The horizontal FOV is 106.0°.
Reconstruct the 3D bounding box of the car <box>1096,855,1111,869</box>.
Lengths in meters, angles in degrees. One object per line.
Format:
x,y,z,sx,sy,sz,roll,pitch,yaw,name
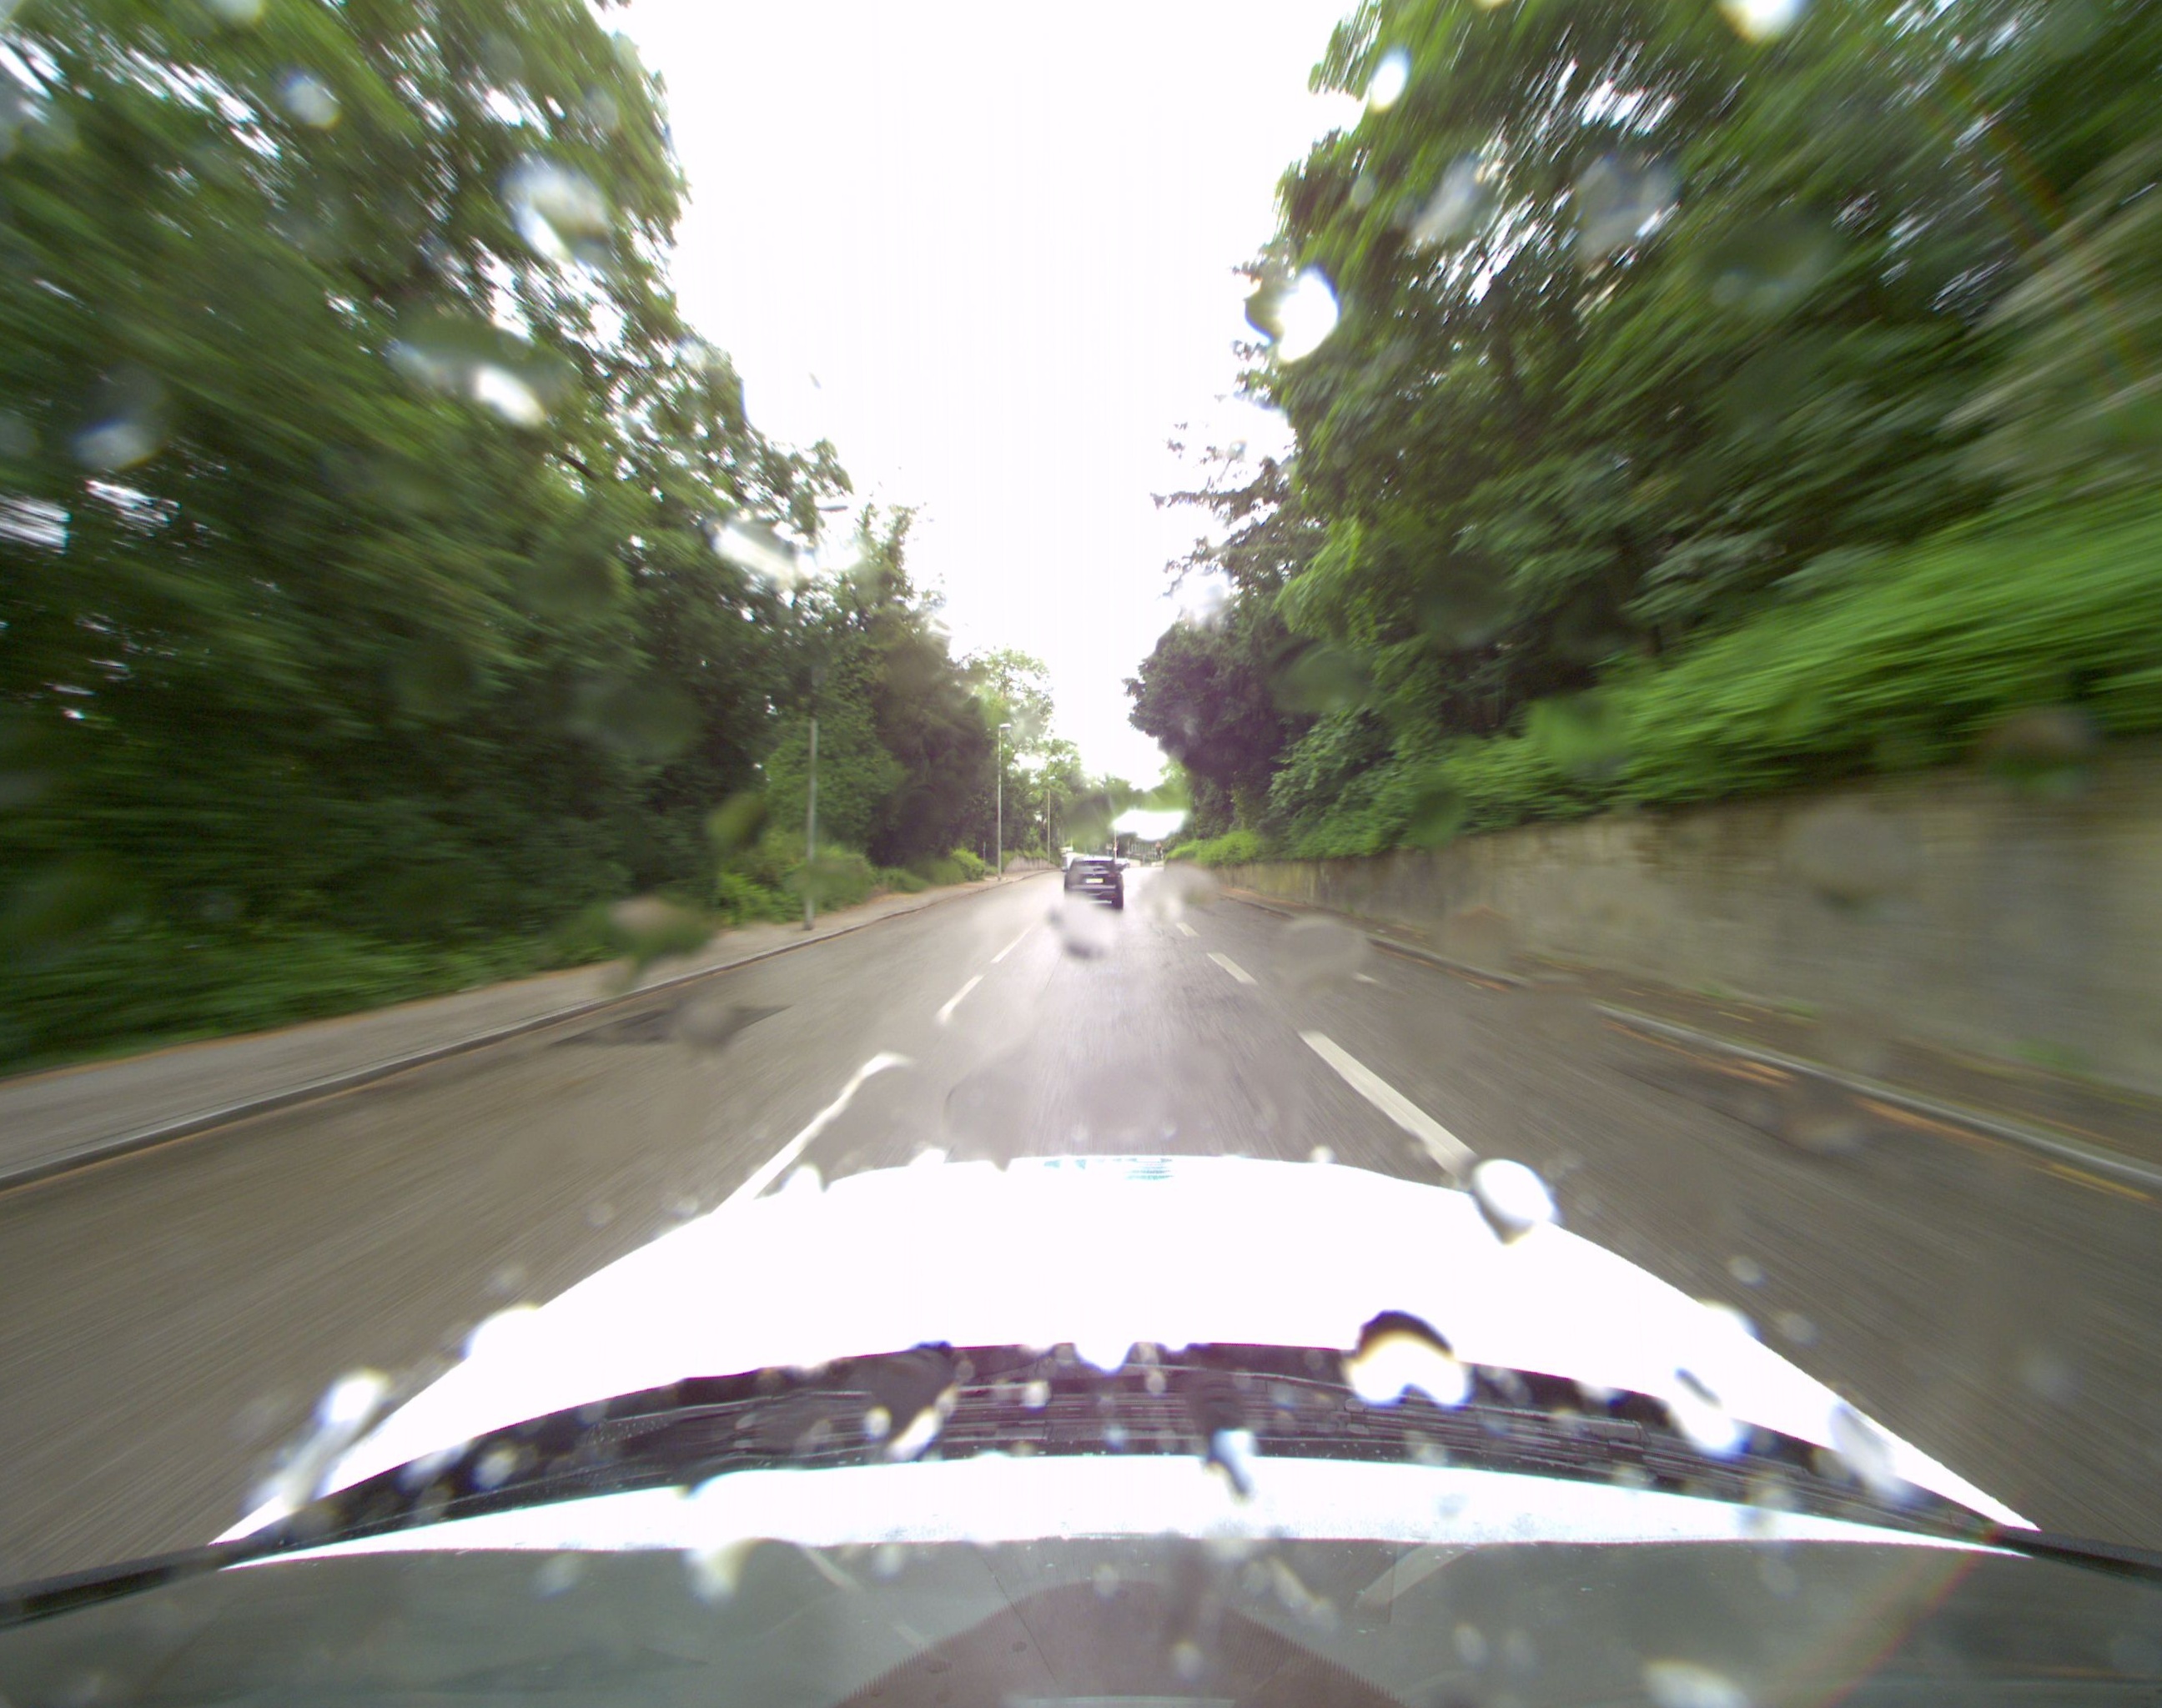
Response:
2.934,1.039,107.821,1.824,1.711,3.999,0,0,0,car

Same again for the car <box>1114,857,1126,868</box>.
5.596,1.228,117.752,1.669,1.496,3.461,-1,0,1,car

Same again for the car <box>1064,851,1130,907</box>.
0.522,0.747,26.091,1.921,1.613,4.001,-1,0,1,car
